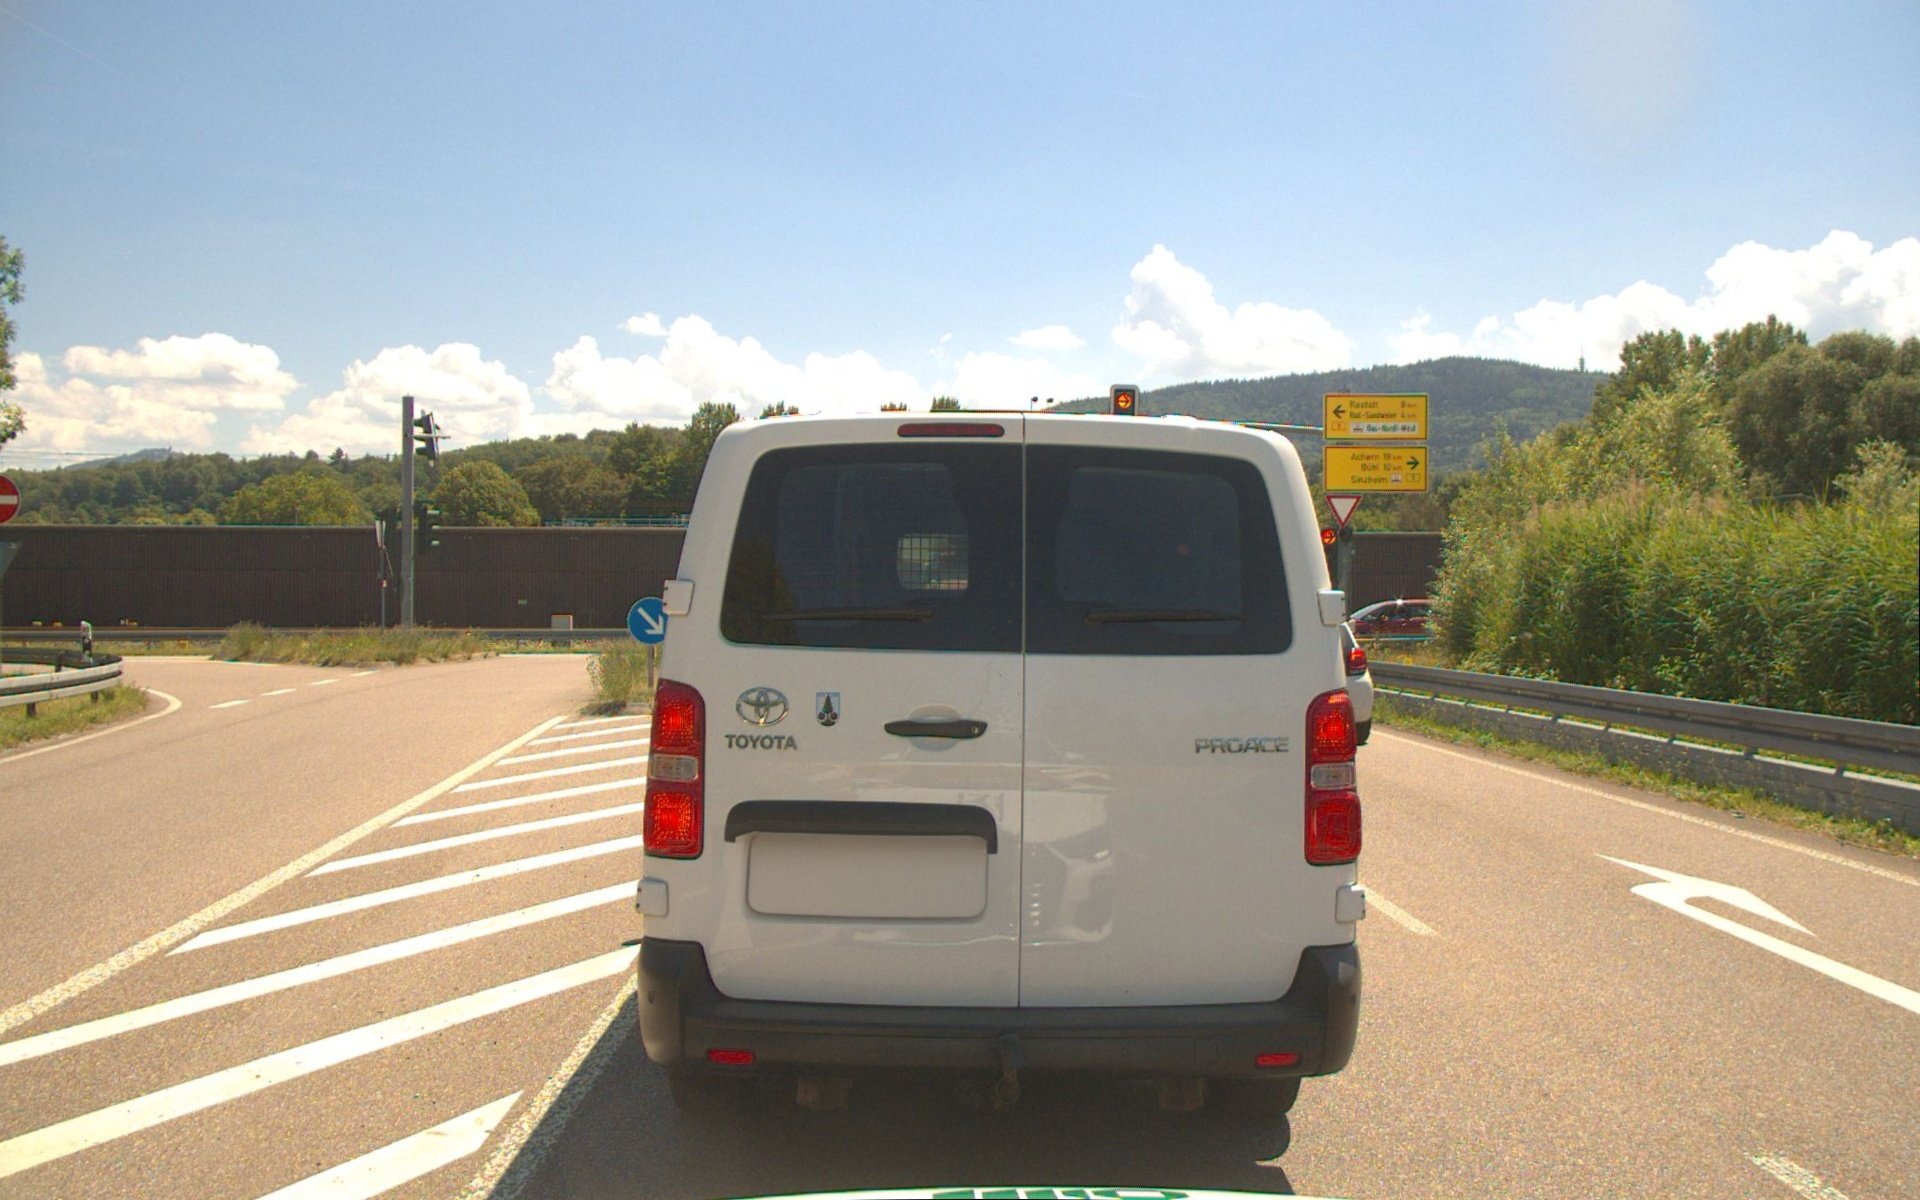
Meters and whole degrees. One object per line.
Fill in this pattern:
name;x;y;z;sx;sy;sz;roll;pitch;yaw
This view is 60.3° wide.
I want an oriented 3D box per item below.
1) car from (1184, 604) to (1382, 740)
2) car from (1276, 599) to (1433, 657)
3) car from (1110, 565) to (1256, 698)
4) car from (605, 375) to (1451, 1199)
car;3.743;0.792;19.674;1.622;1.456;3.364;1;0;-1
car;11.884;0.841;50.003;4.225;1.685;1.998;0;0;-4
car;3.709;0.501;28.259;1.889;2.035;4.838;1;0;1
car;0.114;0.485;5.653;1.848;1.919;3.999;1;0;-1
